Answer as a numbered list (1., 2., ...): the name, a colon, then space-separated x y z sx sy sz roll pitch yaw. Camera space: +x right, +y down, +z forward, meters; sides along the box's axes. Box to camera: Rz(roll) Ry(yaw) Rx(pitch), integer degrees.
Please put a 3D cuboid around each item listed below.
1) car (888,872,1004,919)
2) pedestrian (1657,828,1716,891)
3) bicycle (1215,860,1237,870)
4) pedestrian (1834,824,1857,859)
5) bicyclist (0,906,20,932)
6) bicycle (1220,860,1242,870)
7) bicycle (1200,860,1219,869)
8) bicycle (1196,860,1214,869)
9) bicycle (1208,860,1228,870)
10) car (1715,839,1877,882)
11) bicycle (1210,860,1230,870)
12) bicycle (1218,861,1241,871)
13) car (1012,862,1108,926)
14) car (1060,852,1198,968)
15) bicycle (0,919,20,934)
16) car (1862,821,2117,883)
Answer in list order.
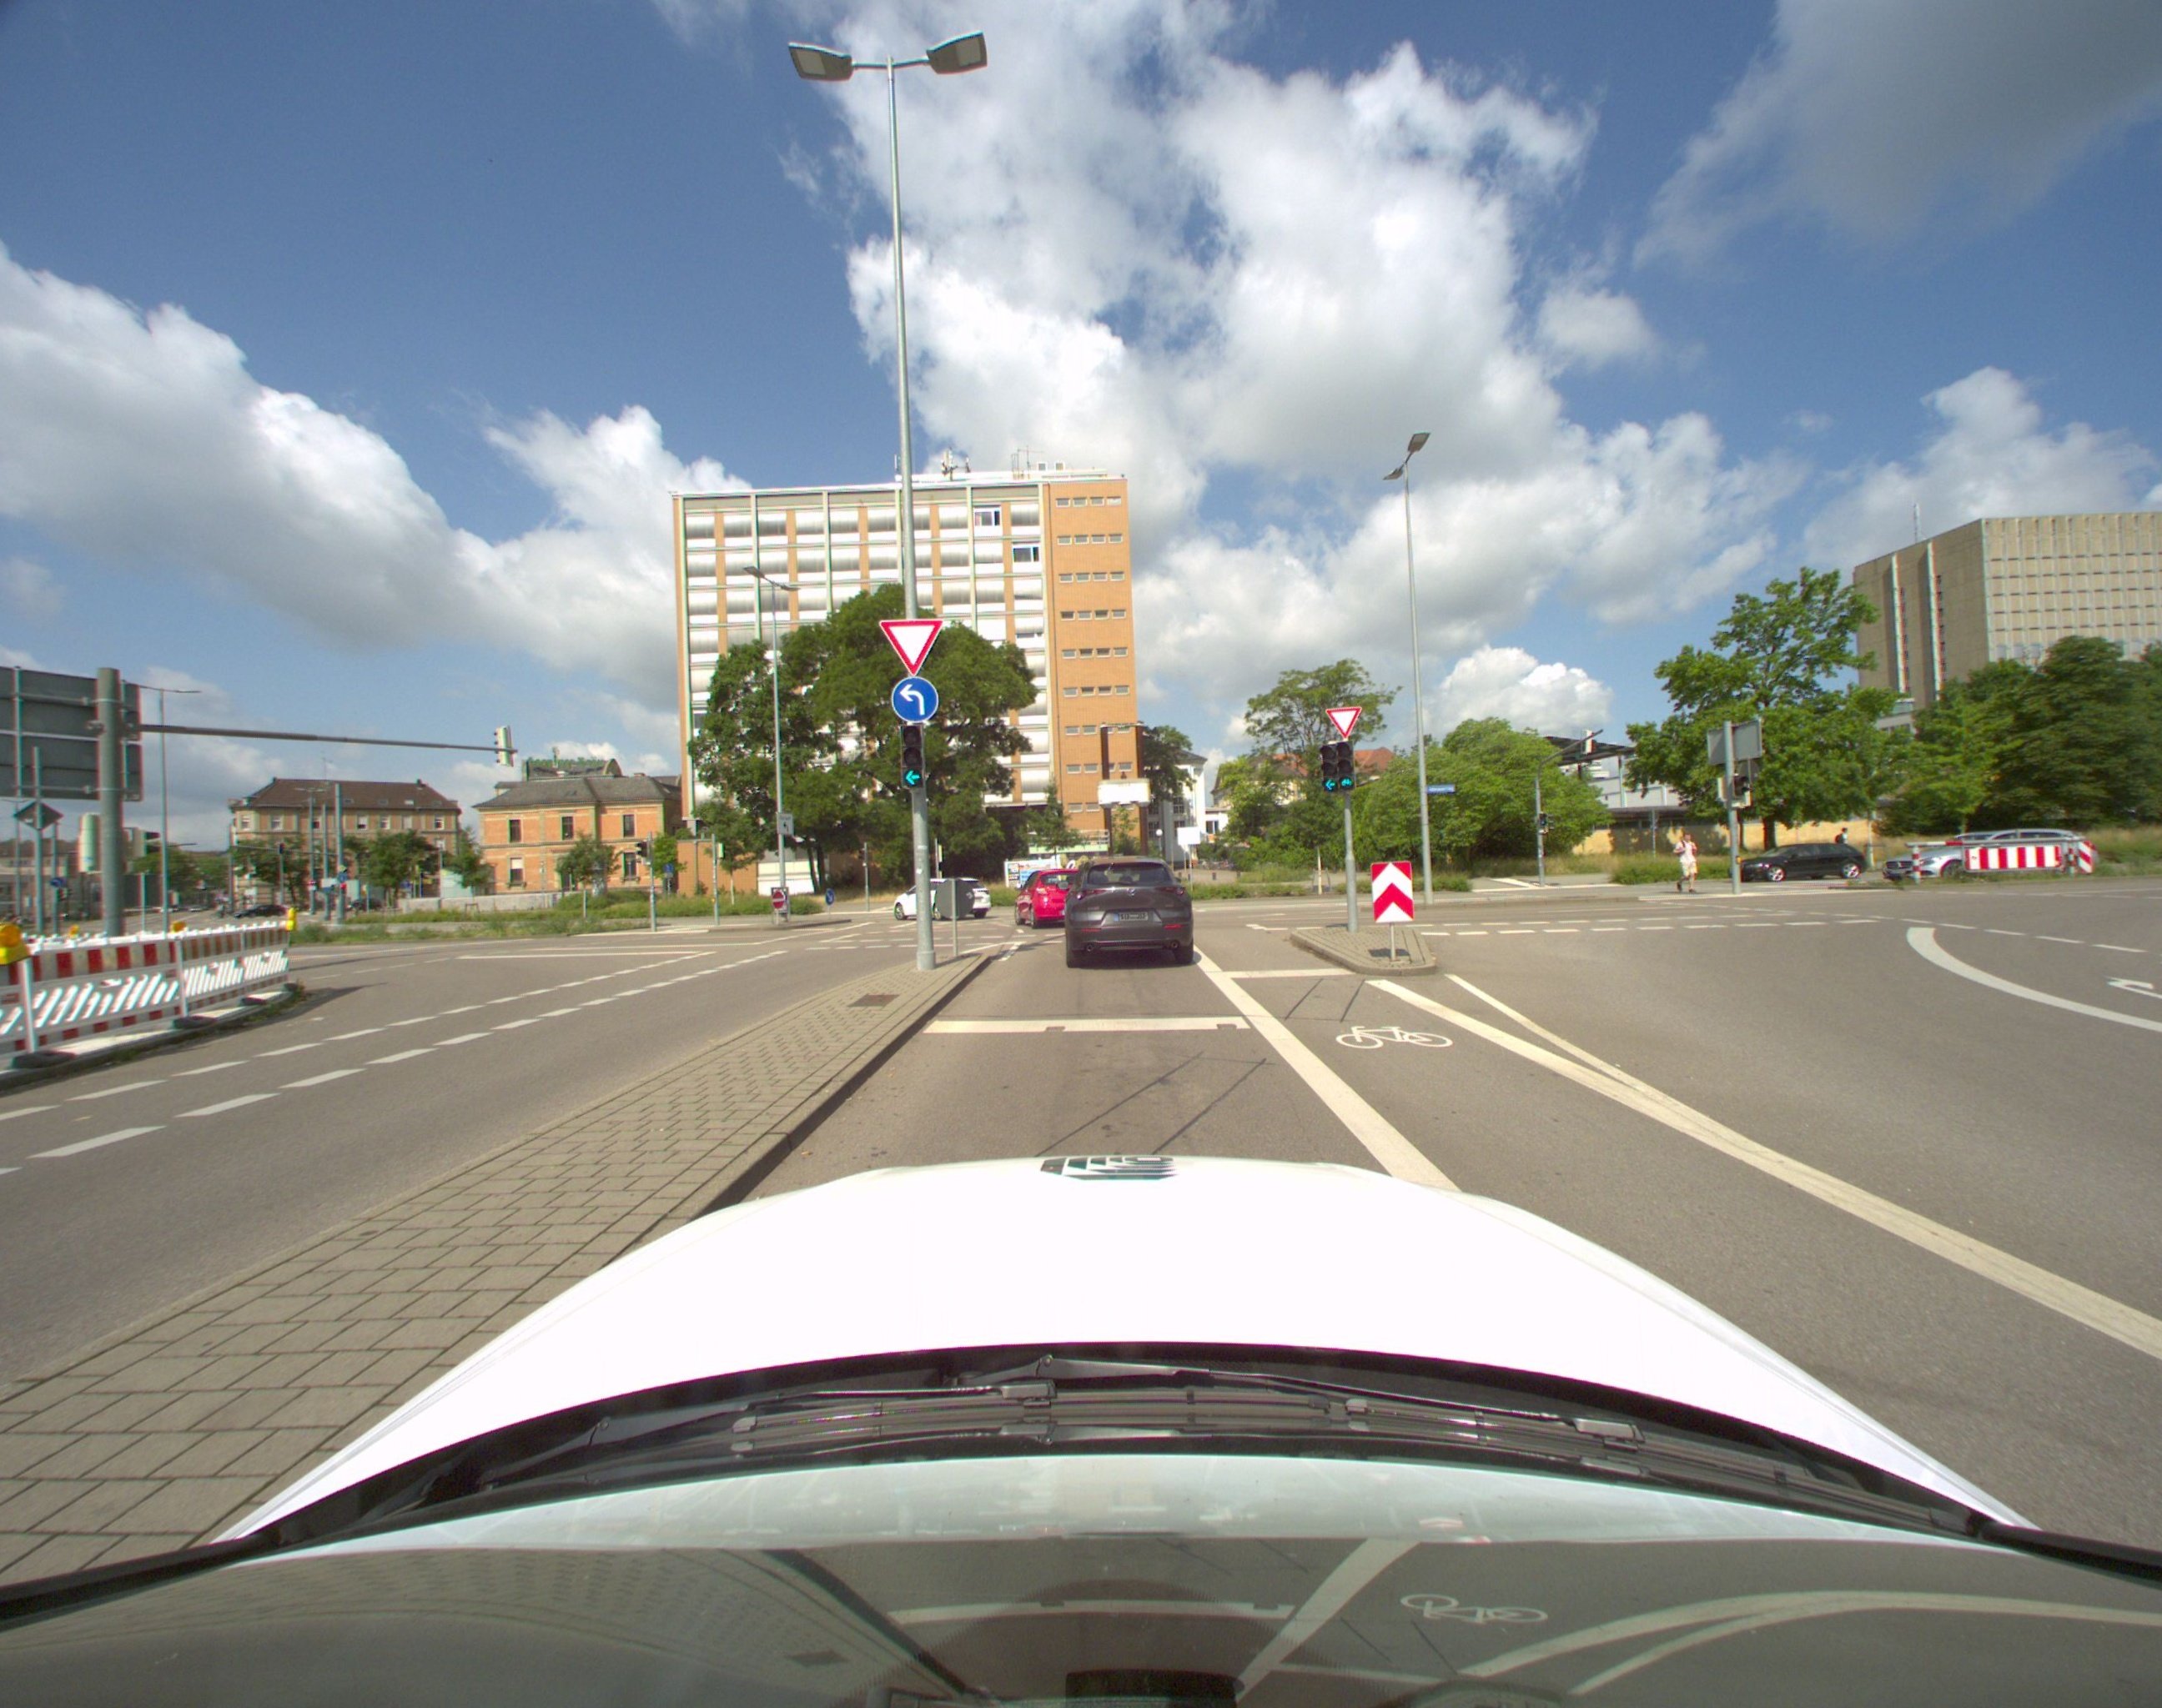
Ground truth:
1. car: -4.813 1.482 28.676 1.865 1.472 4.281 -2 -2 -44
2. pedestrian: 18.656 0.192 25.115 0.697 1.857 1.177 -3 -3 -9
3. bicycle: 15.088 1.144 84.765 2.048 0.936 0.804 -3 -1 0
4. pedestrian: 35.570 -0.578 37.910 0.521 1.608 0.541 -1 -1 -3
5. bicyclist: -76.893 4.668 58.430 1.144 1.823 0.818 -4 -2 44
6. bicycle: 15.397 1.129 83.425 2.048 0.936 0.804 -3 -1 0
7. bicycle: 14.674 1.221 92.979 2.048 0.936 0.804 -3 -1 0
8. bicycle: 14.868 1.261 97.837 2.048 0.936 0.804 -3 -1 0
9. bicycle: 15.001 1.184 89.237 2.048 0.936 0.804 -3 -1 0
10. car: 26.929 0.249 30.826 4.120 1.377 2.006 -3 0 11
11. bicycle: 15.055 1.176 88.244 2.048 0.936 0.804 -3 -1 0
12. bicycle: 14.714 1.209 80.783 2.048 0.936 0.804 -3 -1 0
13. car: -0.666 1.048 21.265 1.817 1.440 4.050 -1 -3 -11
14. car: 0.628 0.754 12.740 1.800 1.508 4.204 0 -1 0
15. bicycle: -77.045 5.197 58.606 1.993 1.002 0.622 -4 -2 44
16. car: 26.227 -0.011 23.689 4.741 1.442 2.065 -3 -3 5
